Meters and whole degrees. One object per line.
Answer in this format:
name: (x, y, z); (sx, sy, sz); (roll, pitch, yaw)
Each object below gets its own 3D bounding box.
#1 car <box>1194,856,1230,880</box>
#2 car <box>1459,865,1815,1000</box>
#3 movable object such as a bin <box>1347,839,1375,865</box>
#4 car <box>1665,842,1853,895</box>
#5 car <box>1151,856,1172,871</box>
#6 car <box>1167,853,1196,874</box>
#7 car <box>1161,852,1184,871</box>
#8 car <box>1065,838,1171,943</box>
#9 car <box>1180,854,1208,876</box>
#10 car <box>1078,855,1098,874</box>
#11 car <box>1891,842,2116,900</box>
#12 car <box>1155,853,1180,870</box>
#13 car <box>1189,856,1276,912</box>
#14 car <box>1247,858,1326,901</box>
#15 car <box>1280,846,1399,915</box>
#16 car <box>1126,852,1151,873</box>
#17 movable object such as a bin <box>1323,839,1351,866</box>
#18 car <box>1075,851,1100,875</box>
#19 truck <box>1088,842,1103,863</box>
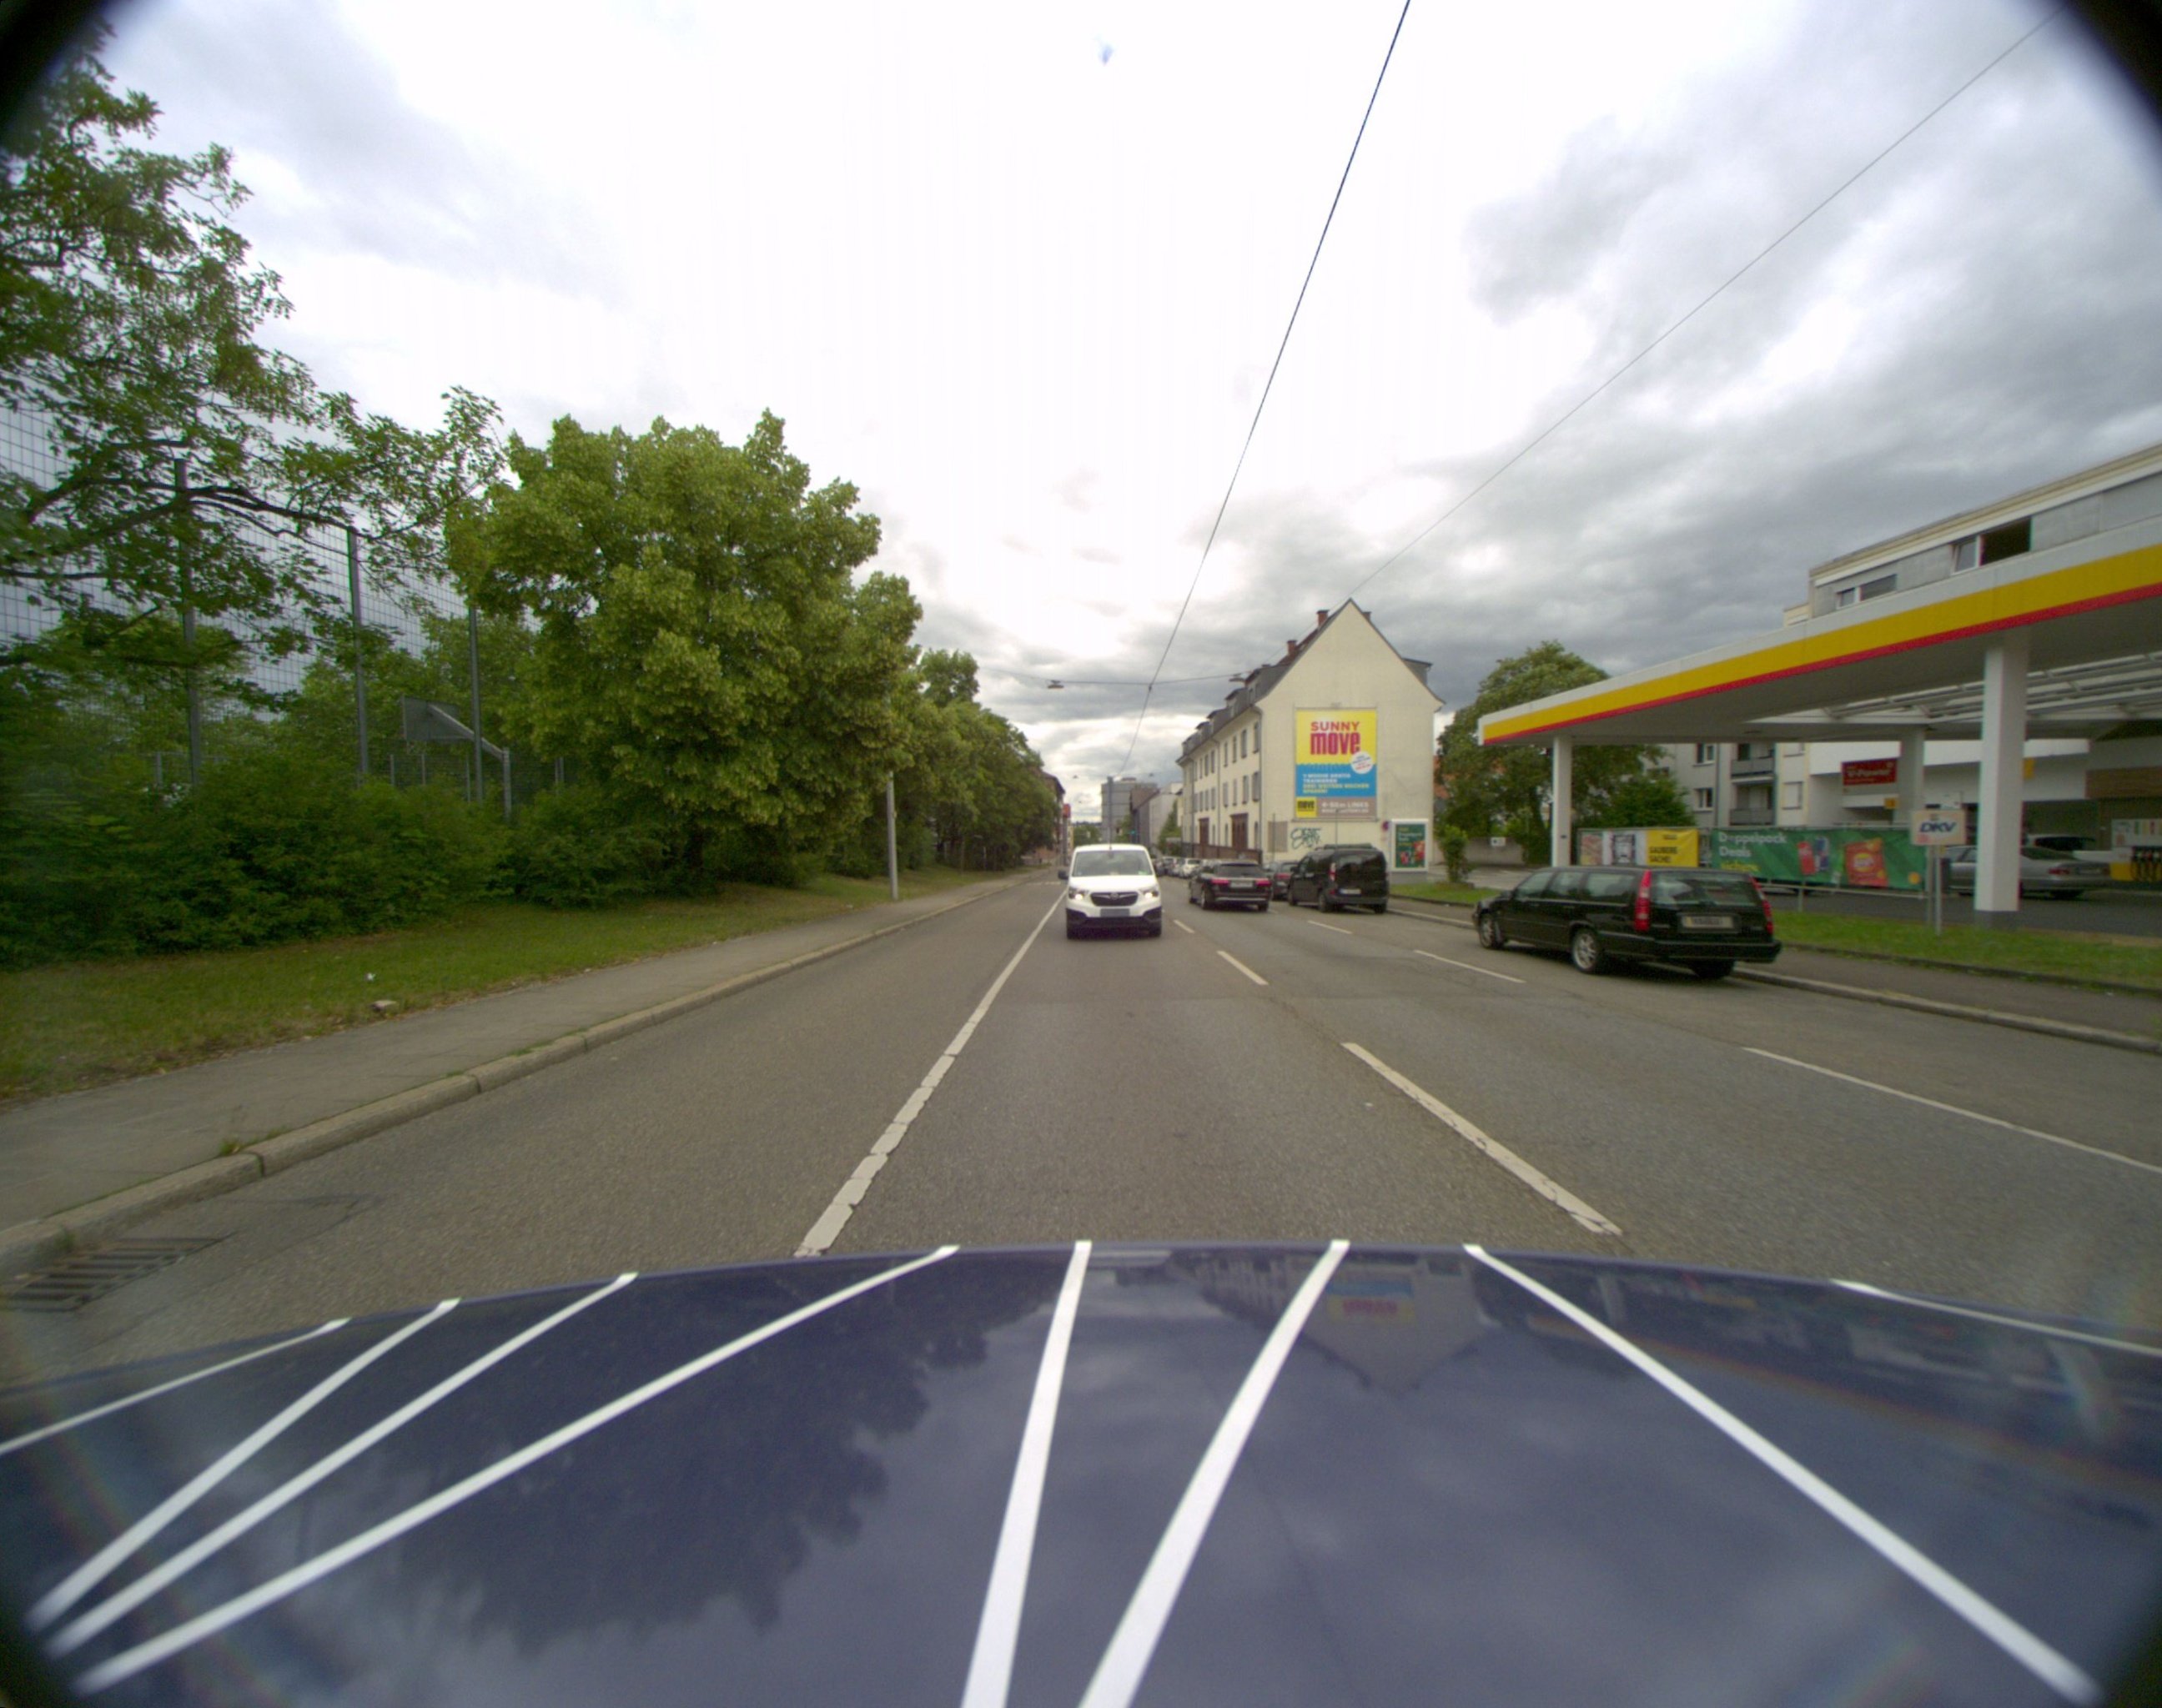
car: (7.932, 0.826, 46.275); (1.623, 1.417, 3.665); (0, 0, 1)
car: (7.427, 0.916, 10.921); (1.802, 1.423, 4.744); (1, 0, 3)
movable object such as a bin: (16.592, -0.122, 45.074); (1.268, 1.529, 1.104); (1, 0, 1)
car: (20.230, 0.392, 22.981); (1.802, 1.412, 4.417); (-1, 0, 1)
car: (8.094, 0.925, 76.704); (1.731, 1.421, 4.192); (0, 0, 1)
car: (8.013, 0.736, 60.722); (1.731, 1.549, 4.081); (2, 0, 0)
car: (7.882, 0.649, 65.664); (1.731, 1.590, 4.502); (0, 0, 3)
car: (0.695, 0.695, 15.564); (1.850, 1.831, 4.285); (-1, -1, 1)
car: (8.158, 0.775, 55.244); (1.551, 1.466, 3.604); (0, 0, 1)
car: (0.742, 0.985, 73.743); (1.850, 1.832, 4.284); (-1, 0, 1)
car: (25.191, 0.425, 20.970); (1.802, 1.412, 3.636); (-1, 0, 1)
car: (8.076, 0.688, 71.100); (1.850, 1.612, 4.643); (0, 0, 0)
car: (4.373, 0.822, 22.588); (1.782, 1.457, 4.499); (0, 0, 1)
car: (7.458, 0.875, 27.918); (1.795, 1.441, 4.218); (1, 0, 1)
car: (7.489, 0.699, 22.535); (1.856, 1.824, 4.701); (1, 0, -1)
car: (4.531, 0.644, 60.156); (1.687, 1.546, 3.718); (1, 0, 0)
movable object such as a bin: (15.173, -0.099, 45.131); (1.268, 1.529, 1.104); (1, 0, 1)
car: (0.540, 0.719, 60.688); (1.850, 1.832, 4.284); (-1, 0, 1)
truck: (2.447, -0.226, 129.428); (2.545, 3.478, 8.521); (0, 0, 1)
